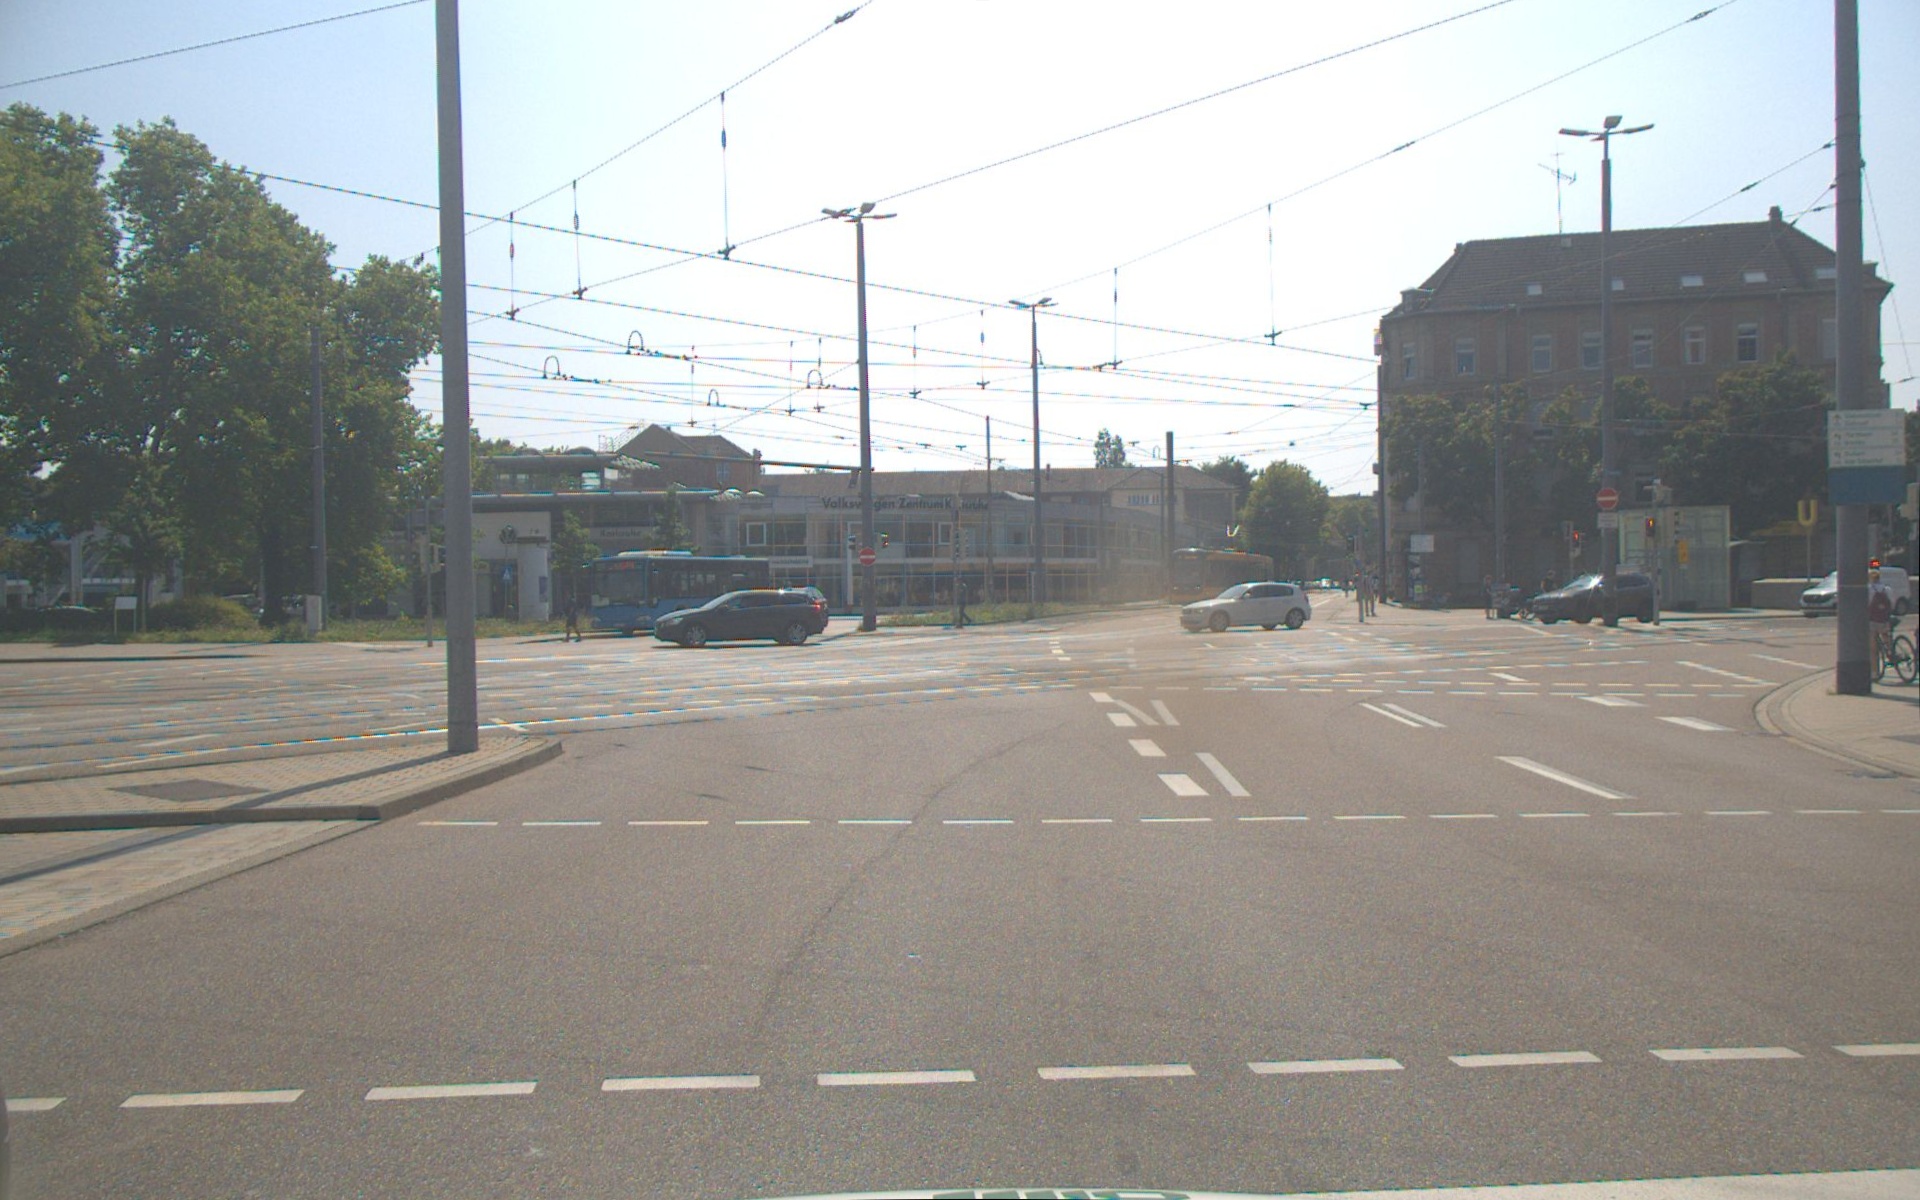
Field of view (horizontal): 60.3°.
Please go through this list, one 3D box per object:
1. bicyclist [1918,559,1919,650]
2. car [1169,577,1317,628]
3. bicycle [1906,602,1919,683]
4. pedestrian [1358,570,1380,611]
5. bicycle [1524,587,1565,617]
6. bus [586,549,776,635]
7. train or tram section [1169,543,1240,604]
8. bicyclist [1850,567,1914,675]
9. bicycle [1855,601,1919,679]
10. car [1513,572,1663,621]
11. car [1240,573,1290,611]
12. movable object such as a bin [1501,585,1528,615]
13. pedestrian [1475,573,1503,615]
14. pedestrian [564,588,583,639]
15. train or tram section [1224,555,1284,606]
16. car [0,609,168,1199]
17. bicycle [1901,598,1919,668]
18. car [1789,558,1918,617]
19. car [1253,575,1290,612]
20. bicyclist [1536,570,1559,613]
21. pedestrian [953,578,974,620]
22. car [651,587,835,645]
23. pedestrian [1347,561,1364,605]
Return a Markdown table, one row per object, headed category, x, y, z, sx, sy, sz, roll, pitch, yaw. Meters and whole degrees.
| category | x | y | z | sx | sy | sz | roll | pitch | yaw |
| --- | --- | --- | --- | --- | --- | --- | --- | --- | --- |
| bicyclist | 15.006 | 0.068 | 25.124 | 0.519 | 1.417 | 0.894 | -1 | 0 | 12 |
| car | 8.591 | 0.066 | 50.222 | 4.128 | 1.440 | 1.765 | -1 | 0 | -21 |
| bicycle | 13.083 | 0.572 | 21.623 | 0.481 | 1.073 | 1.824 | -1 | 0 | 4 |
| pedestrian | 16.810 | -0.391 | 68.023 | 0.686 | 1.631 | 0.572 | -1 | 0 | -8 |
| bicycle | 21.380 | 0.067 | 60.571 | 0.462 | 1.073 | 1.643 | -1 | 0 | -20 |
| bus | -10.897 | -0.338 | 66.455 | 2.508 | 3.136 | 12.031 | -1 | 0 | 16 |
| train or tram section | 15.221 | -1.594 | 102.176 | 2.534 | 3.578 | 10.904 | -1 | 0 | 18 |
| bicyclist | 13.429 | 0.301 | 24.098 | 0.614 | 1.544 | 0.712 | -1 | 0 | 12 |
| bicycle | 13.420 | 0.557 | 23.751 | 0.525 | 1.073 | 1.655 | -1 | 0 | 12 |
| car | 21.007 | -0.123 | 55.330 | 4.545 | 1.531 | 1.987 | -1 | 0 | -21 |
| car | 12.322 | -0.347 | 66.656 | 1.732 | 1.440 | 4.192 | -1 | 0 | 14 |
| movable object such as a bin | 20.946 | -0.007 | 62.516 | 0.798 | 1.096 | 0.510 | -1 | 0 | -11 |
| pedestrian | 20.085 | -0.214 | 62.771 | 0.834 | 1.572 | 0.528 | -1 | 0 | -9 |
| pedestrian | -13.074 | 0.439 | 55.926 | 0.544 | 1.713 | 0.452 | -1 | 0 | -19 |
| train or tram section | 21.858 | -1.428 | 122.496 | 2.534 | 3.578 | 12.979 | -1 | 0 | 18 |
| car | -2.509 | 0.727 | 1.348 | 1.728 | 1.412 | 3.783 | 1 | 0 | 3 |
| bicycle | 15.100 | 0.515 | 25.501 | 0.525 | 1.073 | 1.655 | -1 | 0 | 12 |
| car | 32.742 | -0.472 | 60.584 | 4.557 | 2.049 | 1.982 | -1 | 0 | -28 |
| car | 14.327 | -0.319 | 75.930 | 1.601 | 1.646 | 4.004 | -1 | 0 | 11 |
| bicyclist | 21.453 | -0.299 | 60.397 | 0.603 | 1.555 | 0.517 | -1 | 0 | -25 |
| pedestrian | 0.136 | -0.040 | 59.066 | 0.666 | 1.468 | 0.364 | -1 | 0 | -18 |
| car | -5.875 | 0.407 | 44.794 | 4.684 | 1.440 | 1.765 | -1 | 0 | -20 |
| pedestrian | 27.971 | -1.176 | 117.040 | 0.963 | 3.070 | 0.975 | -1 | 0 | 5 |
